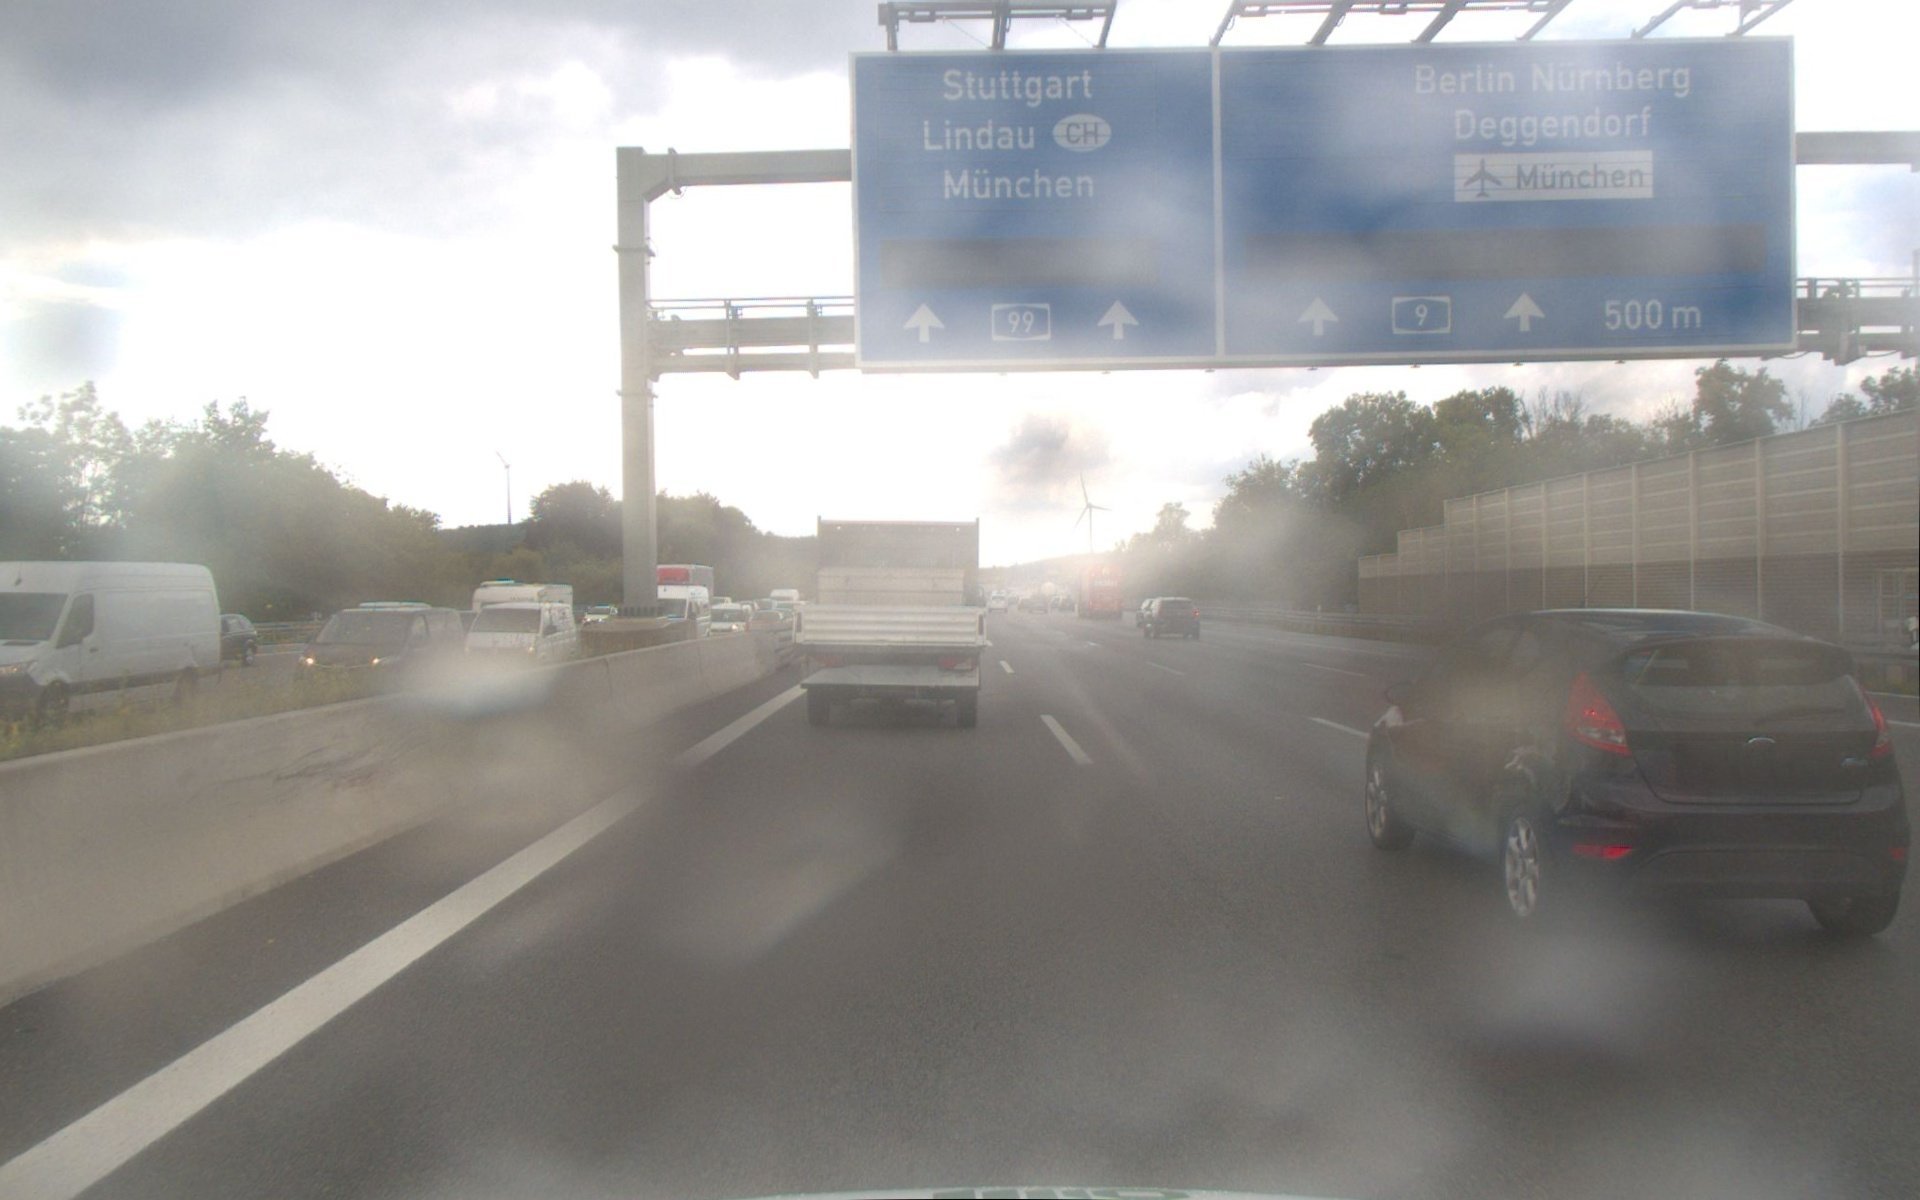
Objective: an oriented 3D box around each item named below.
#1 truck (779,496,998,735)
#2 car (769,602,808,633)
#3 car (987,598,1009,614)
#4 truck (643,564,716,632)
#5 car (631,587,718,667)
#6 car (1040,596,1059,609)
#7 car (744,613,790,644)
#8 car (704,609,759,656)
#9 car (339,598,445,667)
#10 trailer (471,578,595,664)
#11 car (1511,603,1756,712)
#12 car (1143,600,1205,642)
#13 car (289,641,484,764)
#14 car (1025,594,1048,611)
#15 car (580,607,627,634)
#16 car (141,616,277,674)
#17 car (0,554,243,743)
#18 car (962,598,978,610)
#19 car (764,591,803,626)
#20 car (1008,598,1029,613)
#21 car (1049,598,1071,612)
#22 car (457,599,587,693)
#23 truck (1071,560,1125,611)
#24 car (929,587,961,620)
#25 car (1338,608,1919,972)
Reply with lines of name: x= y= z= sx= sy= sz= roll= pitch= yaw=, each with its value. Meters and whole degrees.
truck: x=-0.792 y=0.145 z=20.820 sx=2.260 sy=2.482 sz=7.147 roll=0 pitch=0 yaw=-1
car: x=-10.469 y=1.056 z=101.404 sx=1.855 sy=1.832 sz=5.841 roll=-1 pitch=0 yaw=-1
car: x=3.880 y=0.559 z=168.505 sx=1.928 sy=1.588 sz=4.430 roll=-1 pitch=0 yaw=-3
truck: x=-18.338 y=-0.110 z=108.917 sx=2.741 sy=4.184 sz=12.294 roll=-1 pitch=0 yaw=0
car: x=-10.317 y=0.929 z=60.420 sx=1.983 sy=2.725 sz=7.309 roll=-1 pitch=0 yaw=-1
car: x=11.303 y=0.265 z=208.213 sx=1.929 sy=1.588 sz=4.430 roll=-1 pitch=0 yaw=-3
car: x=-9.775 y=1.431 z=83.914 sx=1.855 sy=1.486 sz=4.477 roll=-1 pitch=0 yaw=-1
car: x=-10.147 y=1.420 z=73.851 sx=1.781 sy=1.986 sz=5.222 roll=-1 pitch=0 yaw=-1
car: x=-18.392 y=1.016 z=53.761 sx=1.942 sy=2.114 sz=4.477 roll=-1 pitch=0 yaw=-1
trailer: x=-14.373 y=0.684 z=56.224 sx=2.294 sy=2.699 sz=7.183 roll=-1 pitch=0 yaw=0
car: x=9.803 y=0.781 z=24.447 sx=1.910 sy=1.443 sz=4.232 roll=0 pitch=0 yaw=0
car: x=8.198 y=0.788 z=63.755 sx=1.844 sy=1.569 sz=4.433 roll=-1 pitch=0 yaw=0
car: x=-10.491 y=1.794 z=30.713 sx=1.781 sy=1.938 sz=5.423 roll=-1 pitch=0 yaw=-1
car: x=7.694 y=0.254 z=167.123 sx=1.929 sy=1.588 sz=4.430 roll=-1 pitch=0 yaw=-3
car: x=-21.829 y=1.226 z=101.503 sx=1.855 sy=1.621 sz=4.902 roll=-1 pitch=0 yaw=-1
car: x=-21.632 y=1.265 z=47.847 sx=1.942 sy=1.520 sz=4.477 roll=-1 pitch=0 yaw=-1
car: x=-14.595 y=0.709 z=27.547 sx=2.007 sy=2.699 sz=7.734 roll=-1 pitch=0 yaw=-1
car: x=1.374 y=0.476 z=223.601 sx=1.928 sy=1.588 sz=4.430 roll=-1 pitch=0 yaw=-3
car: x=-14.147 y=0.670 z=132.986 sx=2.083 sy=2.682 sz=7.610 roll=-1 pitch=0 yaw=1
car: x=6.731 y=0.621 z=189.975 sx=1.929 sy=1.588 sz=4.429 roll=-1 pitch=0 yaw=-4
car: x=11.129 y=0.563 z=184.852 sx=1.929 sy=1.588 sz=4.430 roll=-1 pitch=0 yaw=-3
car: x=-10.575 y=1.046 z=40.337 sx=1.781 sy=2.114 sz=5.374 roll=-1 pitch=0 yaw=-1
truck: x=10.580 y=-1.144 z=127.849 sx=3.088 sy=3.664 sz=12.700 roll=1 pitch=1 yaw=0
car: x=-0.788 y=0.171 z=90.460 sx=1.682 sy=1.652 sz=4.279 roll=0 pitch=1 yaw=0
car: x=3.340 y=0.764 z=8.708 sx=1.682 sy=1.442 sz=4.277 roll=0 pitch=0 yaw=-1
